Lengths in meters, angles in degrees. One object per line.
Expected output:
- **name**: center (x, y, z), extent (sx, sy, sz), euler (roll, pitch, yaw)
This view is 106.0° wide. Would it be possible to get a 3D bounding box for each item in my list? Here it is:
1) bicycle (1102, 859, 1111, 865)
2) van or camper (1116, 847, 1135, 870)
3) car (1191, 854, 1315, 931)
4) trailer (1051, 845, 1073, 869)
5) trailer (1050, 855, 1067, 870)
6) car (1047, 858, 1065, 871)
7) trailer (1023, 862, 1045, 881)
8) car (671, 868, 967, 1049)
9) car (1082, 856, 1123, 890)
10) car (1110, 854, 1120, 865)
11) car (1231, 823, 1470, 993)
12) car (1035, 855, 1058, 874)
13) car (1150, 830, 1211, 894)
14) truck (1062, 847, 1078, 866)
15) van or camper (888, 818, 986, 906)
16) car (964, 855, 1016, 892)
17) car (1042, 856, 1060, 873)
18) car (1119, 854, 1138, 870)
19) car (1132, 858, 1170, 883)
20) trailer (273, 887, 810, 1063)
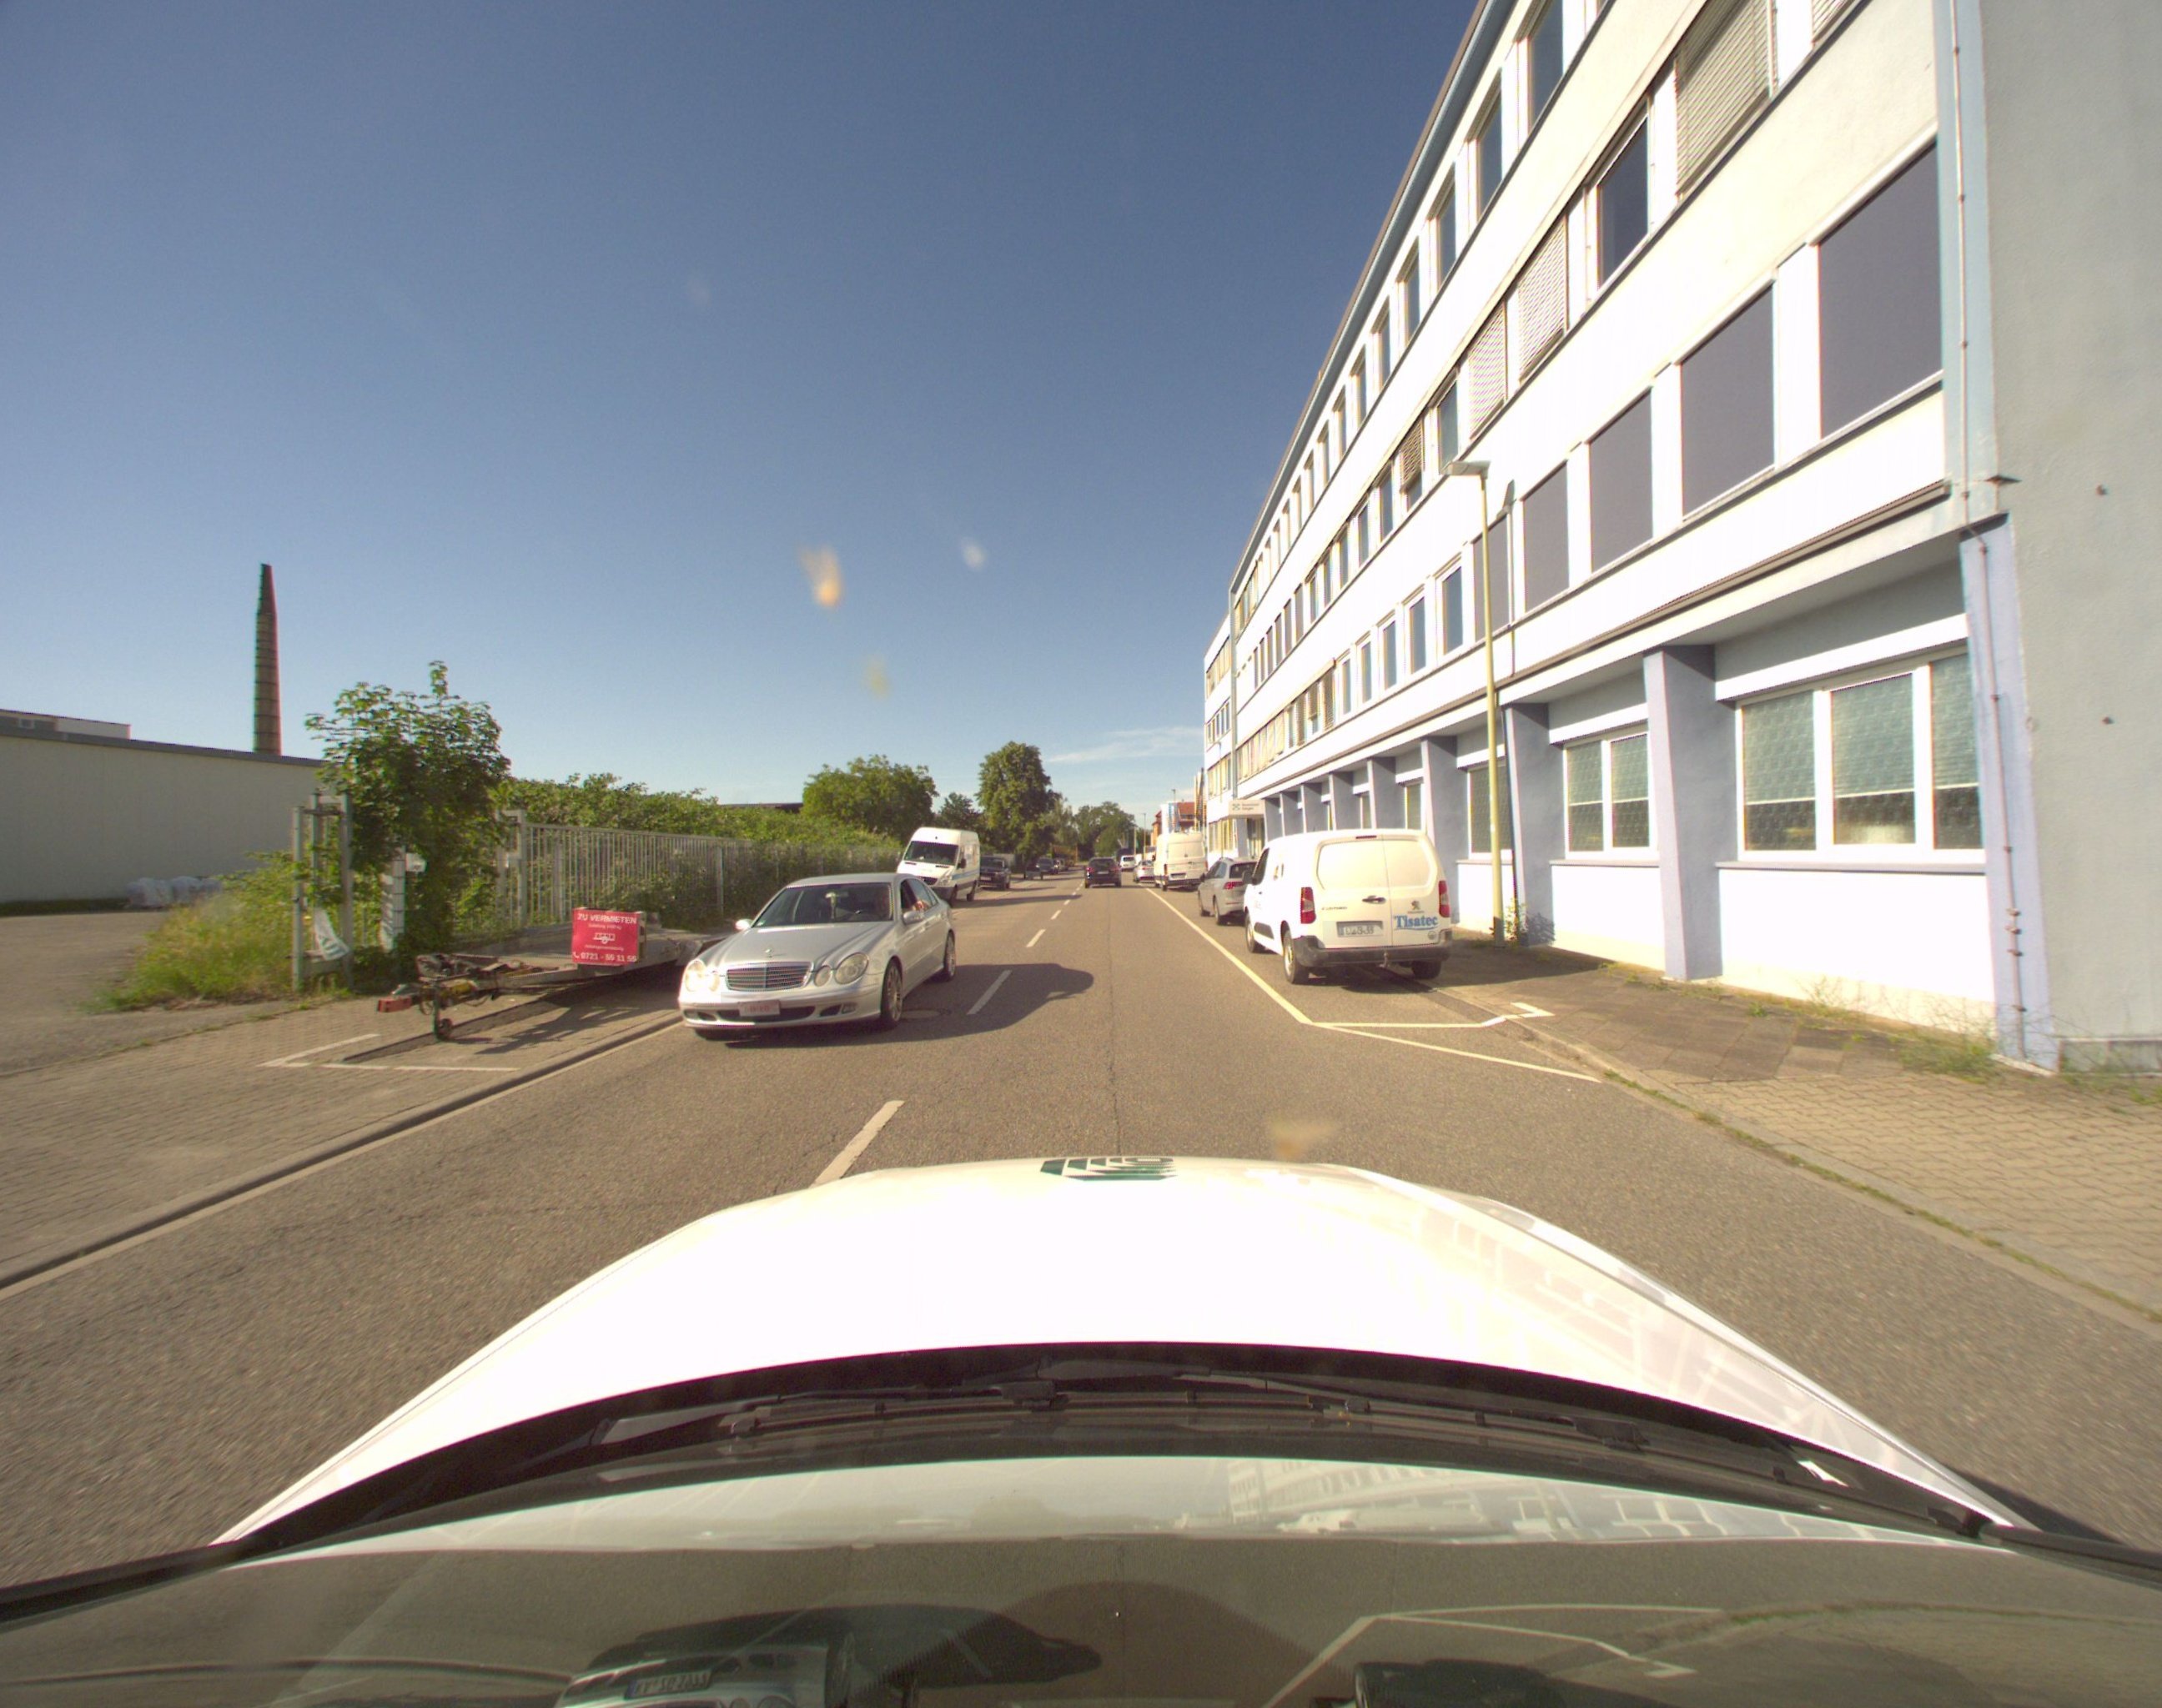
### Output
- **bicycle**: center (5.539, 1.785, 174.280), extent (0.809, 1.268, 2.235), euler (1, -1, -33)
- **van or camper**: center (5.372, 0.563, 99.626), extent (2.133, 2.759, 6.163), euler (0, -1, 1)
- **car**: center (3.844, 0.789, 19.132), extent (1.883, 1.560, 5.090), euler (-1, 0, 1)
- **trailer**: center (-2.835, 0.439, 122.325), extent (2.981, 3.443, 8.160), euler (-1, 0, 0)
- **trailer**: center (-3.024, 1.112, 111.409), extent (1.986, 1.941, 4.416), euler (-2, -1, 1)
- **car**: center (-3.249, 1.317, 105.481), extent (1.900, 1.593, 5.027), euler (3, 0, 2)
- **trailer**: center (-3.609, 1.340, 63.225), extent (1.471, 1.354, 3.079), euler (0, 0, 1)
- **car**: center (-2.511, 0.916, 9.034), extent (1.740, 1.447, 4.362), euler (-1, 0, 2)
- **car**: center (1.078, 0.915, 40.102), extent (1.840, 1.530, 4.002), euler (-2, 0, 2)
- **car**: center (6.669, 1.053, 159.700), extent (1.867, 2.014, 5.162), euler (0, -1, 2)
- **car**: center (3.399, 0.598, 11.426), extent (1.881, 1.832, 5.094), euler (-1, 0, 3)
- **car**: center (-3.379, 0.990, 80.857), extent (1.784, 1.731, 4.806), euler (-2, 0, 3)
- **car**: center (4.441, 0.294, 37.395), extent (1.987, 2.597, 6.051), euler (-3, 1, 0)
- **truck**: center (-2.185, 0.512, 165.930), extent (2.622, 3.505, 8.660), euler (5, 1, 2)
- **van or camper**: center (-4.961, 0.246, 29.047), extent (1.958, 2.685, 5.952), euler (4, 0, 3)
- **car**: center (-4.594, 0.940, 42.008), extent (2.024, 1.694, 5.106), euler (3, 0, 0)
- **car**: center (-3.365, 1.169, 92.107), extent (1.902, 1.662, 4.461), euler (3, 0, -1)
- **car**: center (5.434, 0.926, 93.179), extent (1.879, 1.798, 5.103), euler (0, -1, 0)
- **car**: center (4.140, 0.954, 48.830), extent (1.888, 1.405, 5.125), euler (0, -1, 1)
- **trailer**: center (-5.673, 1.170, 10.118), extent (2.367, 1.080, 6.247), euler (2, 1, 1)
